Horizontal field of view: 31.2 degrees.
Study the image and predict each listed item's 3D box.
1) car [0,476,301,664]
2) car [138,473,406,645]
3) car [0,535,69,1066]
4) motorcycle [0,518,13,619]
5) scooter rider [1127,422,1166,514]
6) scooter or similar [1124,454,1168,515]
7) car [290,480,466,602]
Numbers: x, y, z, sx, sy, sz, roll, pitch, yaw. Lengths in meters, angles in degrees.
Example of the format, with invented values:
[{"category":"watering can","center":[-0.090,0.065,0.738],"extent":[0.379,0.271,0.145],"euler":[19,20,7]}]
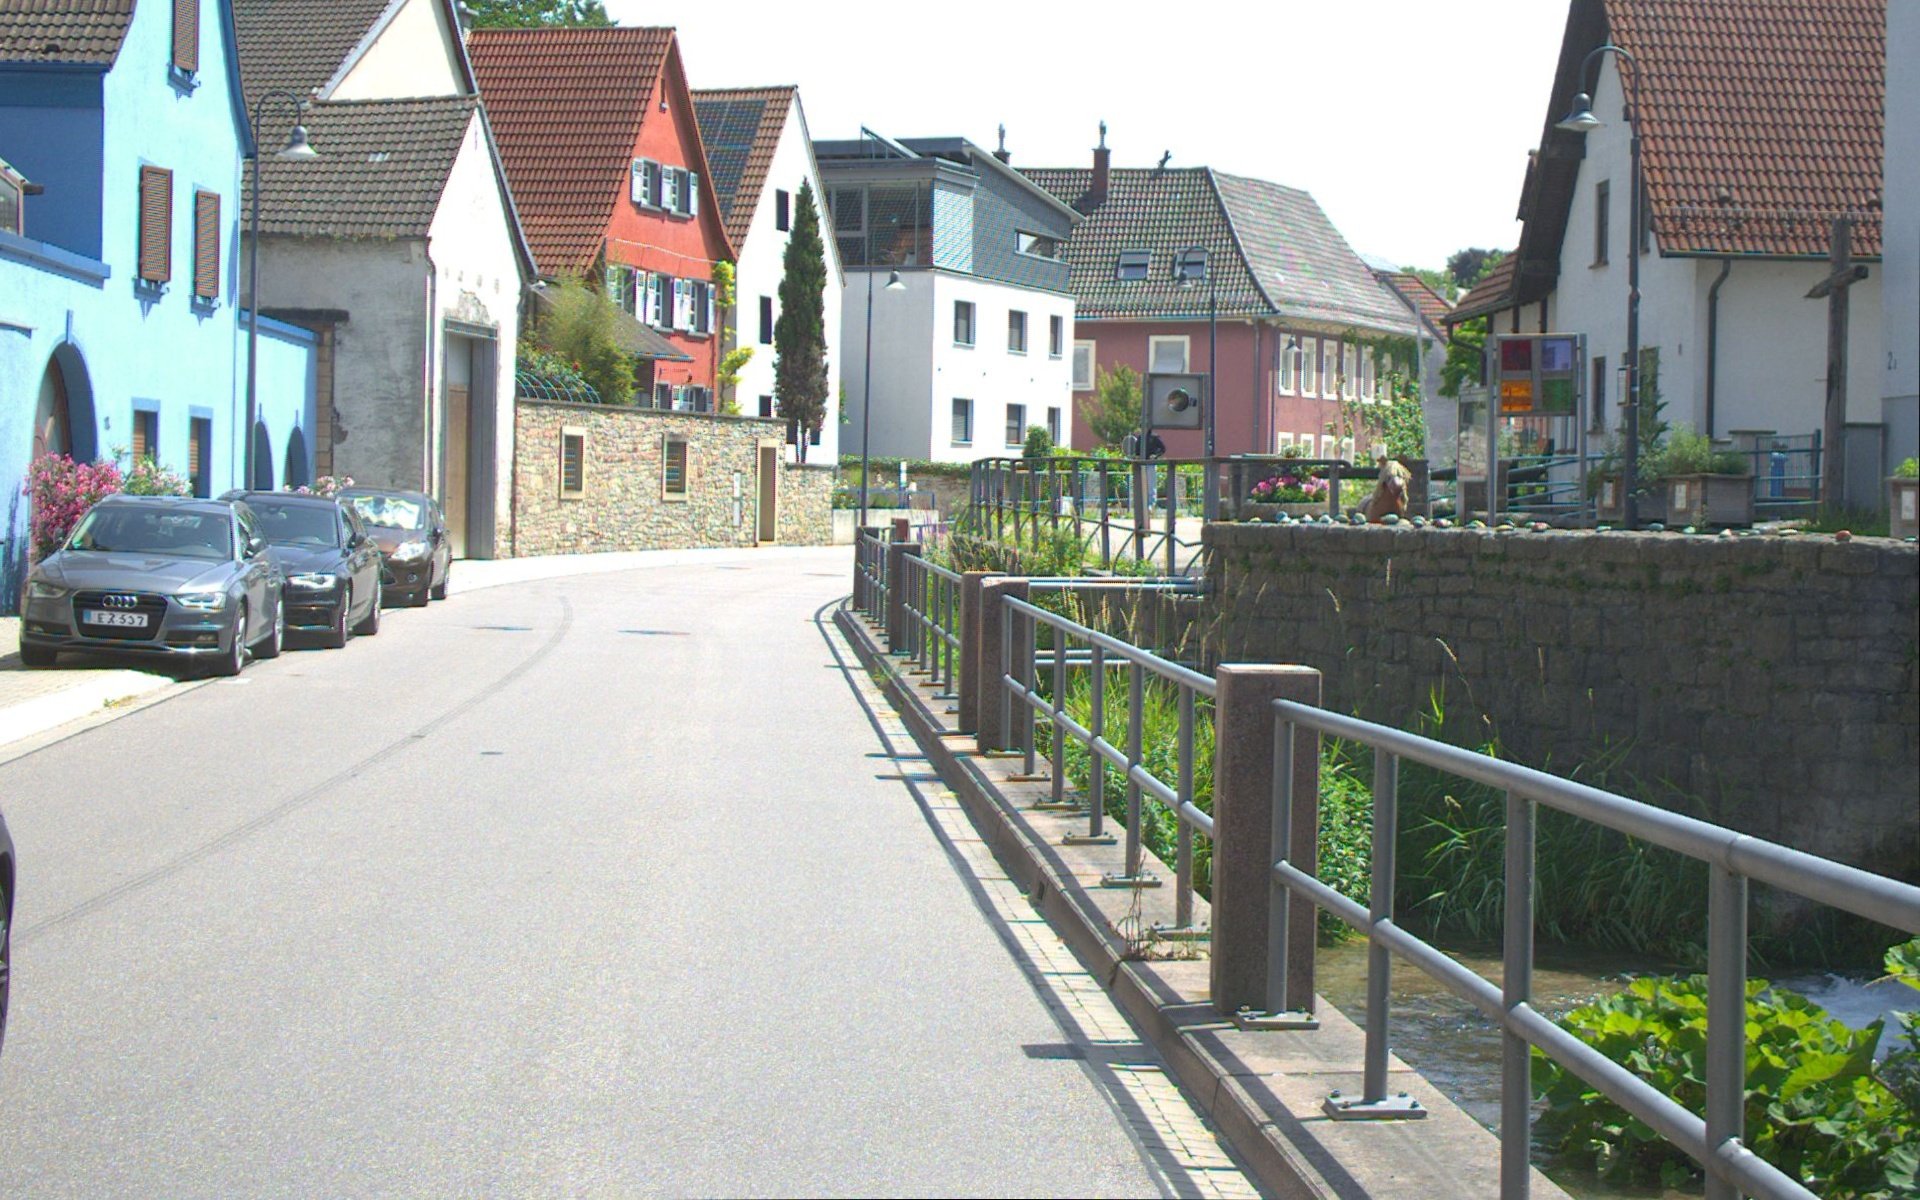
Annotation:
[{"category":"car","center":[-7.028,-0.295,30.105],"extent":[1.956,1.460,4.547],"euler":[2,1,-5]},{"category":"car","center":[-6.948,-0.478,35.155],"extent":[1.885,1.459,4.669],"euler":[5,2,-3]},{"category":"car","center":[-3.361,0.554,8.178],"extent":[1.698,1.460,4.436],"euler":[1,1,-5]},{"category":"motorcycle","center":[-9.584,-0.304,33.221],"extent":[0.417,0.997,1.859],"euler":[6,1,-5]},{"category":"scooter rider","center":[3.564,-2.521,65.714],"extent":[0.641,1.726,0.554],"euler":[2,1,-3]},{"category":"scooter or similar","center":[3.540,-2.198,65.585],"extent":[0.641,1.138,1.812],"euler":[0,2,-3]},{"category":"car","center":[-7.627,-0.796,45.343],"extent":[1.717,1.524,3.857],"euler":[1,2,-1]}]
